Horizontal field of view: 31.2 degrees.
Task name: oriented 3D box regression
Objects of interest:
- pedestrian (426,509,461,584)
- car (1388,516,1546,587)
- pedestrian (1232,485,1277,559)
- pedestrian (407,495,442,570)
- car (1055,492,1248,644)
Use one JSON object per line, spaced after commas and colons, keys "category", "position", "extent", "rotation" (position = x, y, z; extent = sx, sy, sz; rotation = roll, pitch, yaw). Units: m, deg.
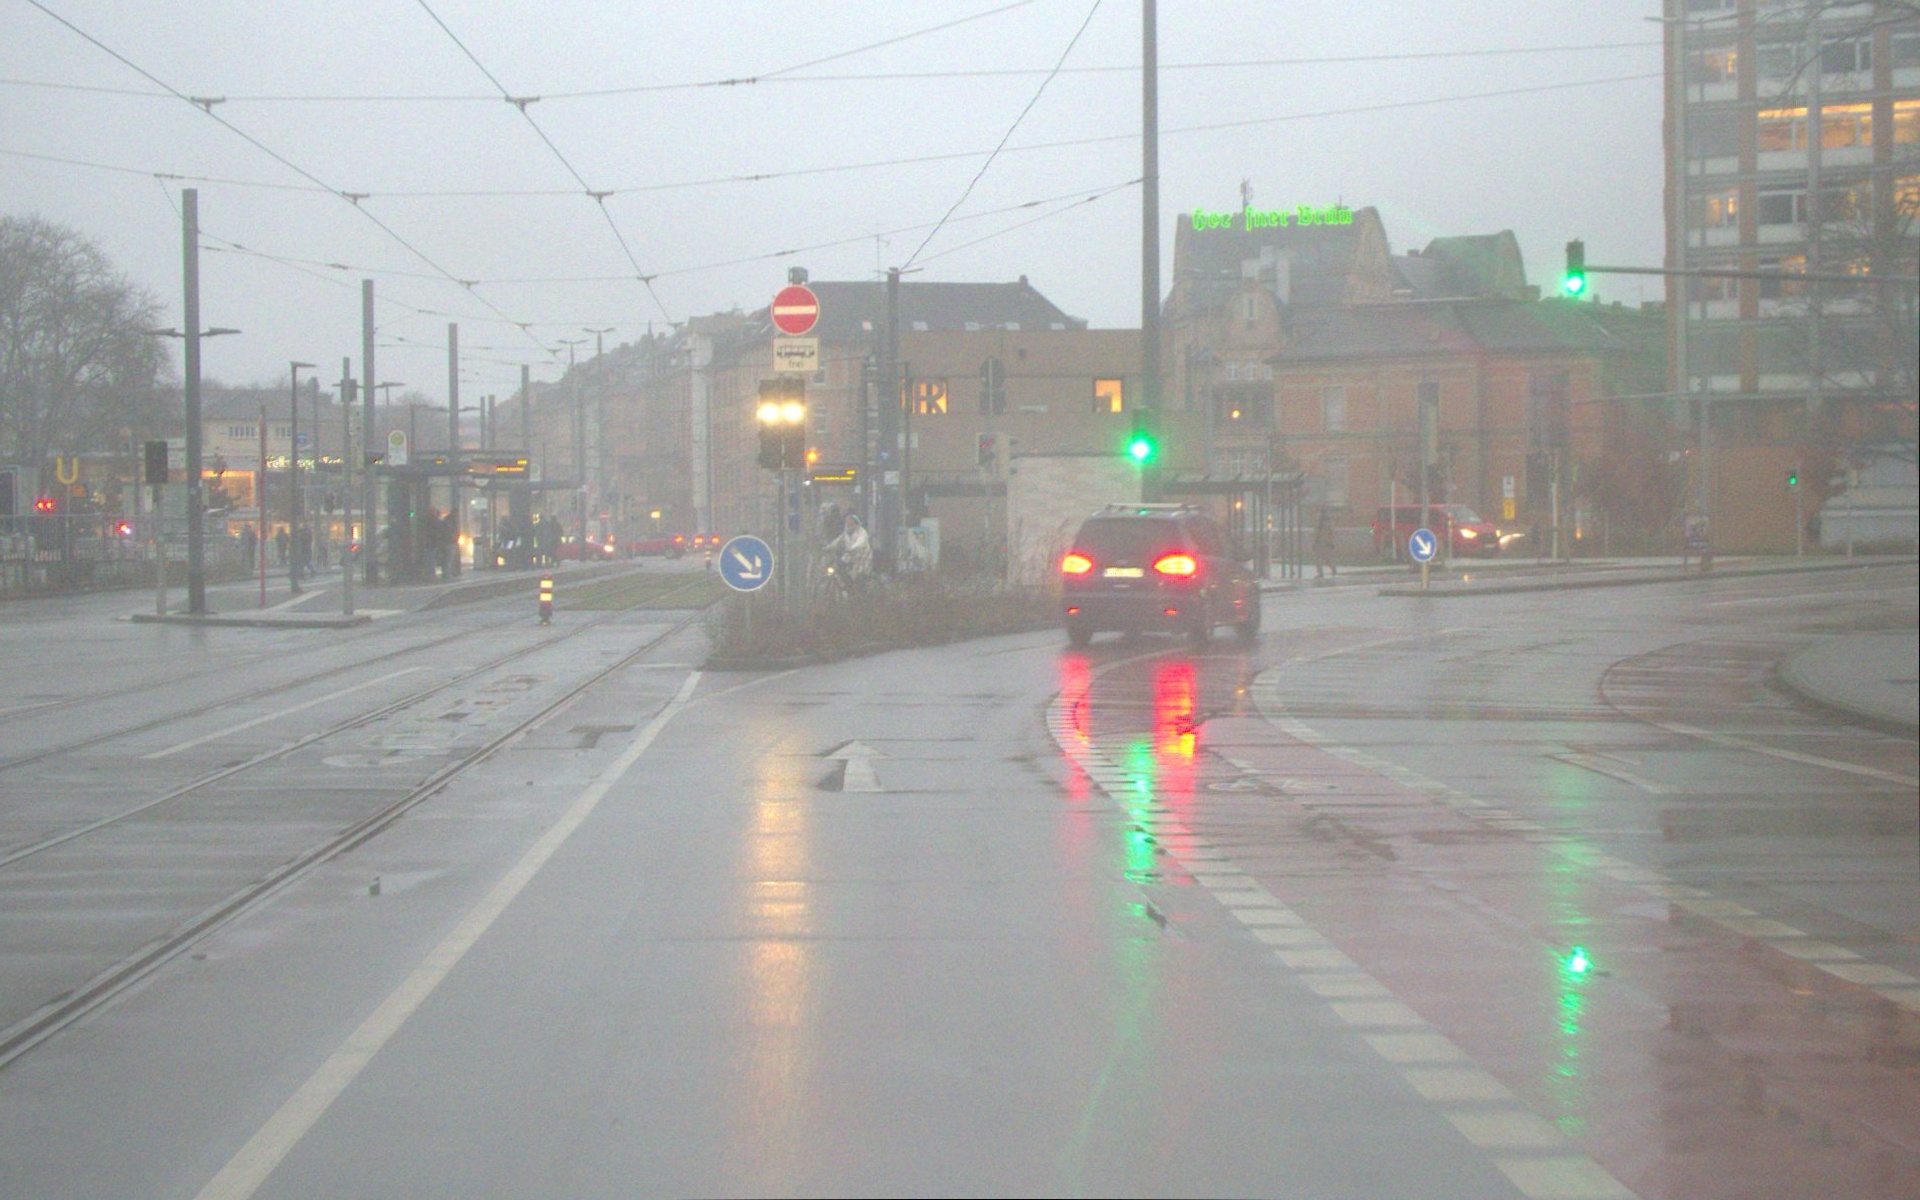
{"category": "pedestrian", "position": [-12.517, -1.291, 83.323], "extent": [0.712, 1.800, 0.717], "rotation": [1, 1, -1]}
{"category": "car", "position": [17.343, -1.668, 117.793], "extent": [2.252, 2.273, 5.036], "rotation": [1, 1, -41]}
{"category": "pedestrian", "position": [6.677, -1.767, 77.965], "extent": [0.674, 1.668, 0.729], "rotation": [2, 1, 36]}
{"category": "pedestrian", "position": [-12.613, -1.595, 80.999], "extent": [0.712, 1.751, 0.717], "rotation": [1, 1, -1]}
{"category": "car", "position": [2.550, -0.464, 44.956], "extent": [1.648, 1.812, 3.997], "rotation": [1, 3, 16]}
